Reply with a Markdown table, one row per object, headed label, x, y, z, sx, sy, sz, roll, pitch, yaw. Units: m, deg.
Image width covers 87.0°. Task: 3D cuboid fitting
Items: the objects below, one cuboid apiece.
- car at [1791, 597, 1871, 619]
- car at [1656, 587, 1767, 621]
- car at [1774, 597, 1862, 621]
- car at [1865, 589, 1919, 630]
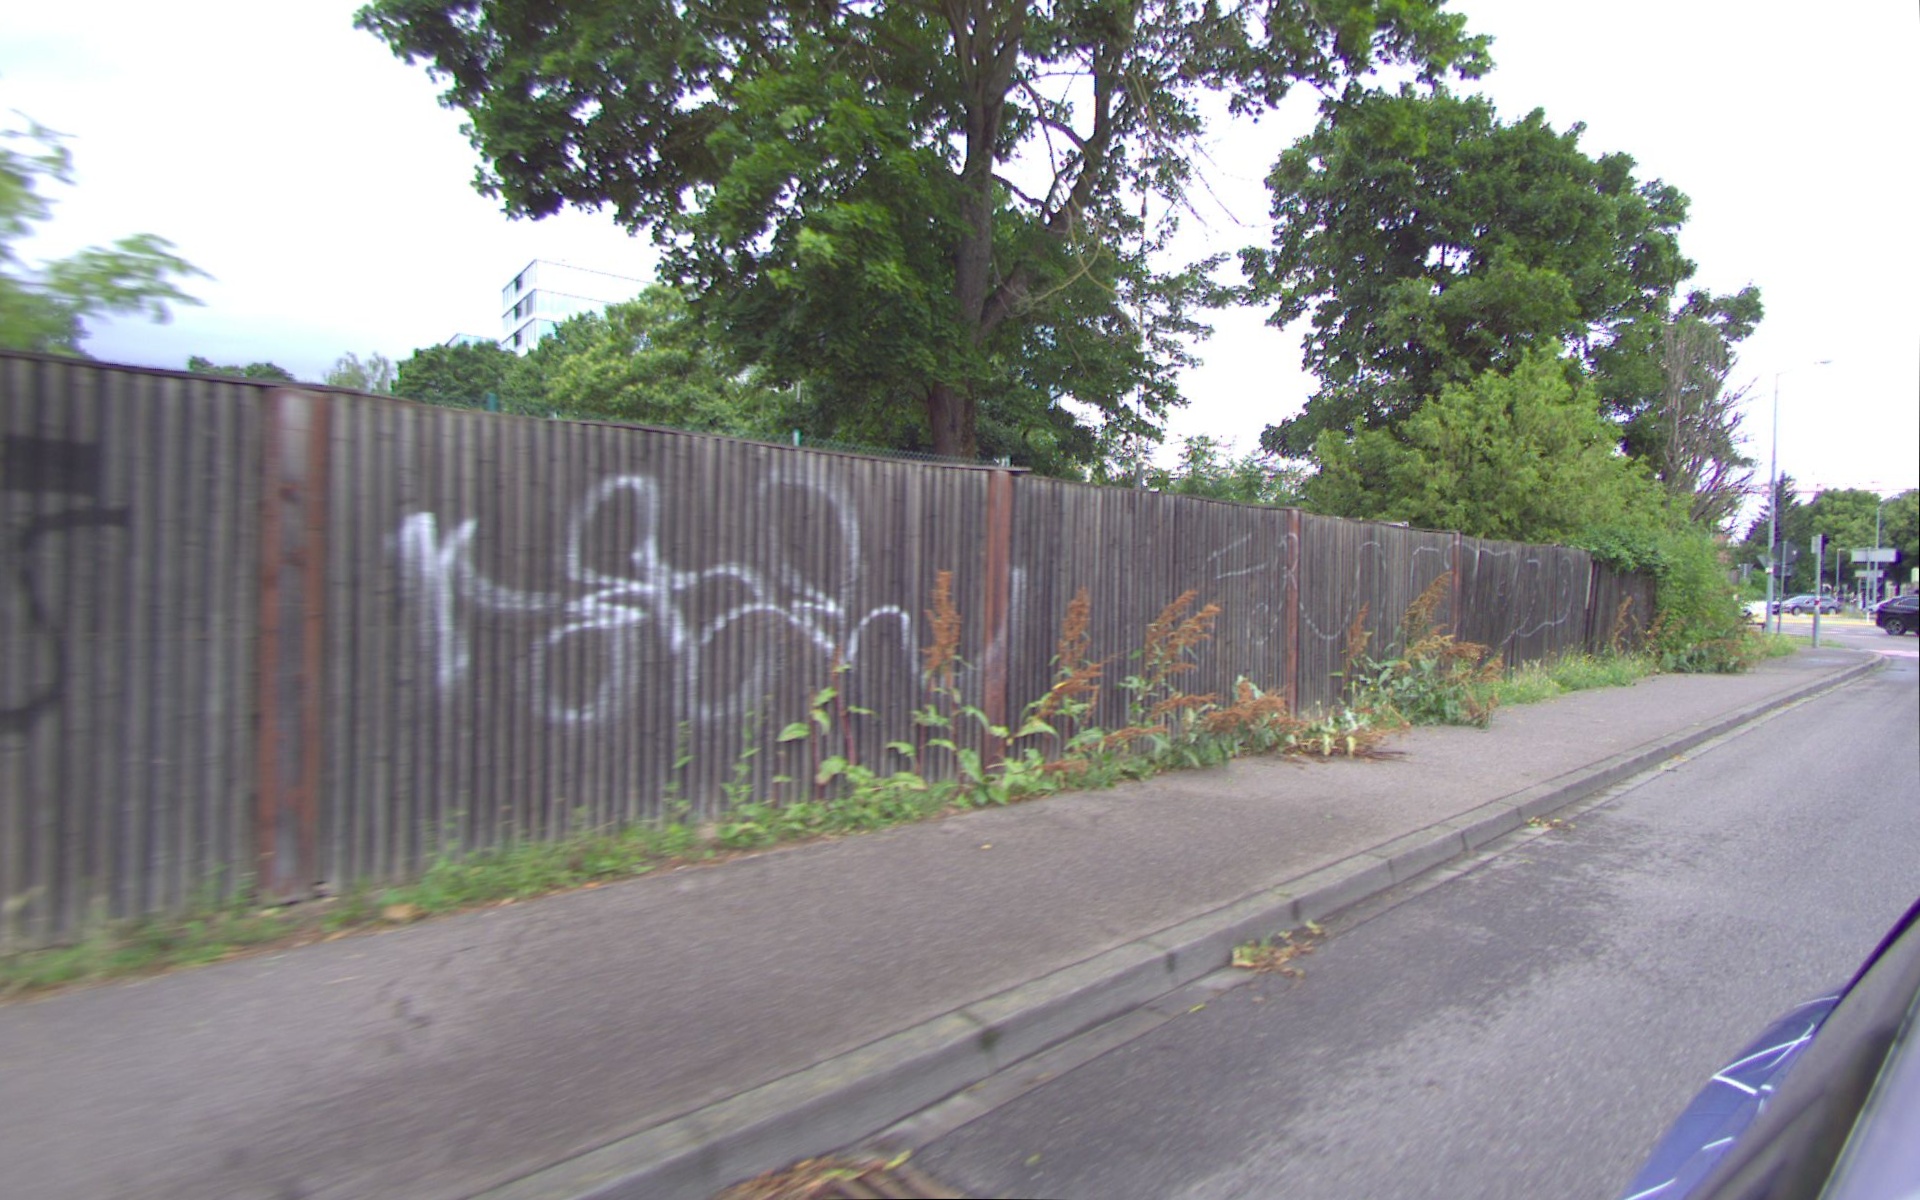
| label | x | y | z | sx | sy | sz | roll | pitch | yaw |
| --- | --- | --- | --- | --- | --- | --- | --- | --- | --- |
| car | 63.317 | 0.576 | 73.660 | 3.948 | 1.506 | 1.802 | 1 | 1 | 19 |
| car | 40.308 | 0.201 | 54.389 | 1.959 | 1.638 | 4.367 | 2 | 1 | -27 |
| car | 60.867 | 0.619 | 71.894 | 4.278 | 1.489 | 1.992 | 1 | 1 | 14 |
| car | 38.630 | 0.404 | 39.603 | 1.881 | 1.586 | 4.486 | 1 | 1 | -16 |
